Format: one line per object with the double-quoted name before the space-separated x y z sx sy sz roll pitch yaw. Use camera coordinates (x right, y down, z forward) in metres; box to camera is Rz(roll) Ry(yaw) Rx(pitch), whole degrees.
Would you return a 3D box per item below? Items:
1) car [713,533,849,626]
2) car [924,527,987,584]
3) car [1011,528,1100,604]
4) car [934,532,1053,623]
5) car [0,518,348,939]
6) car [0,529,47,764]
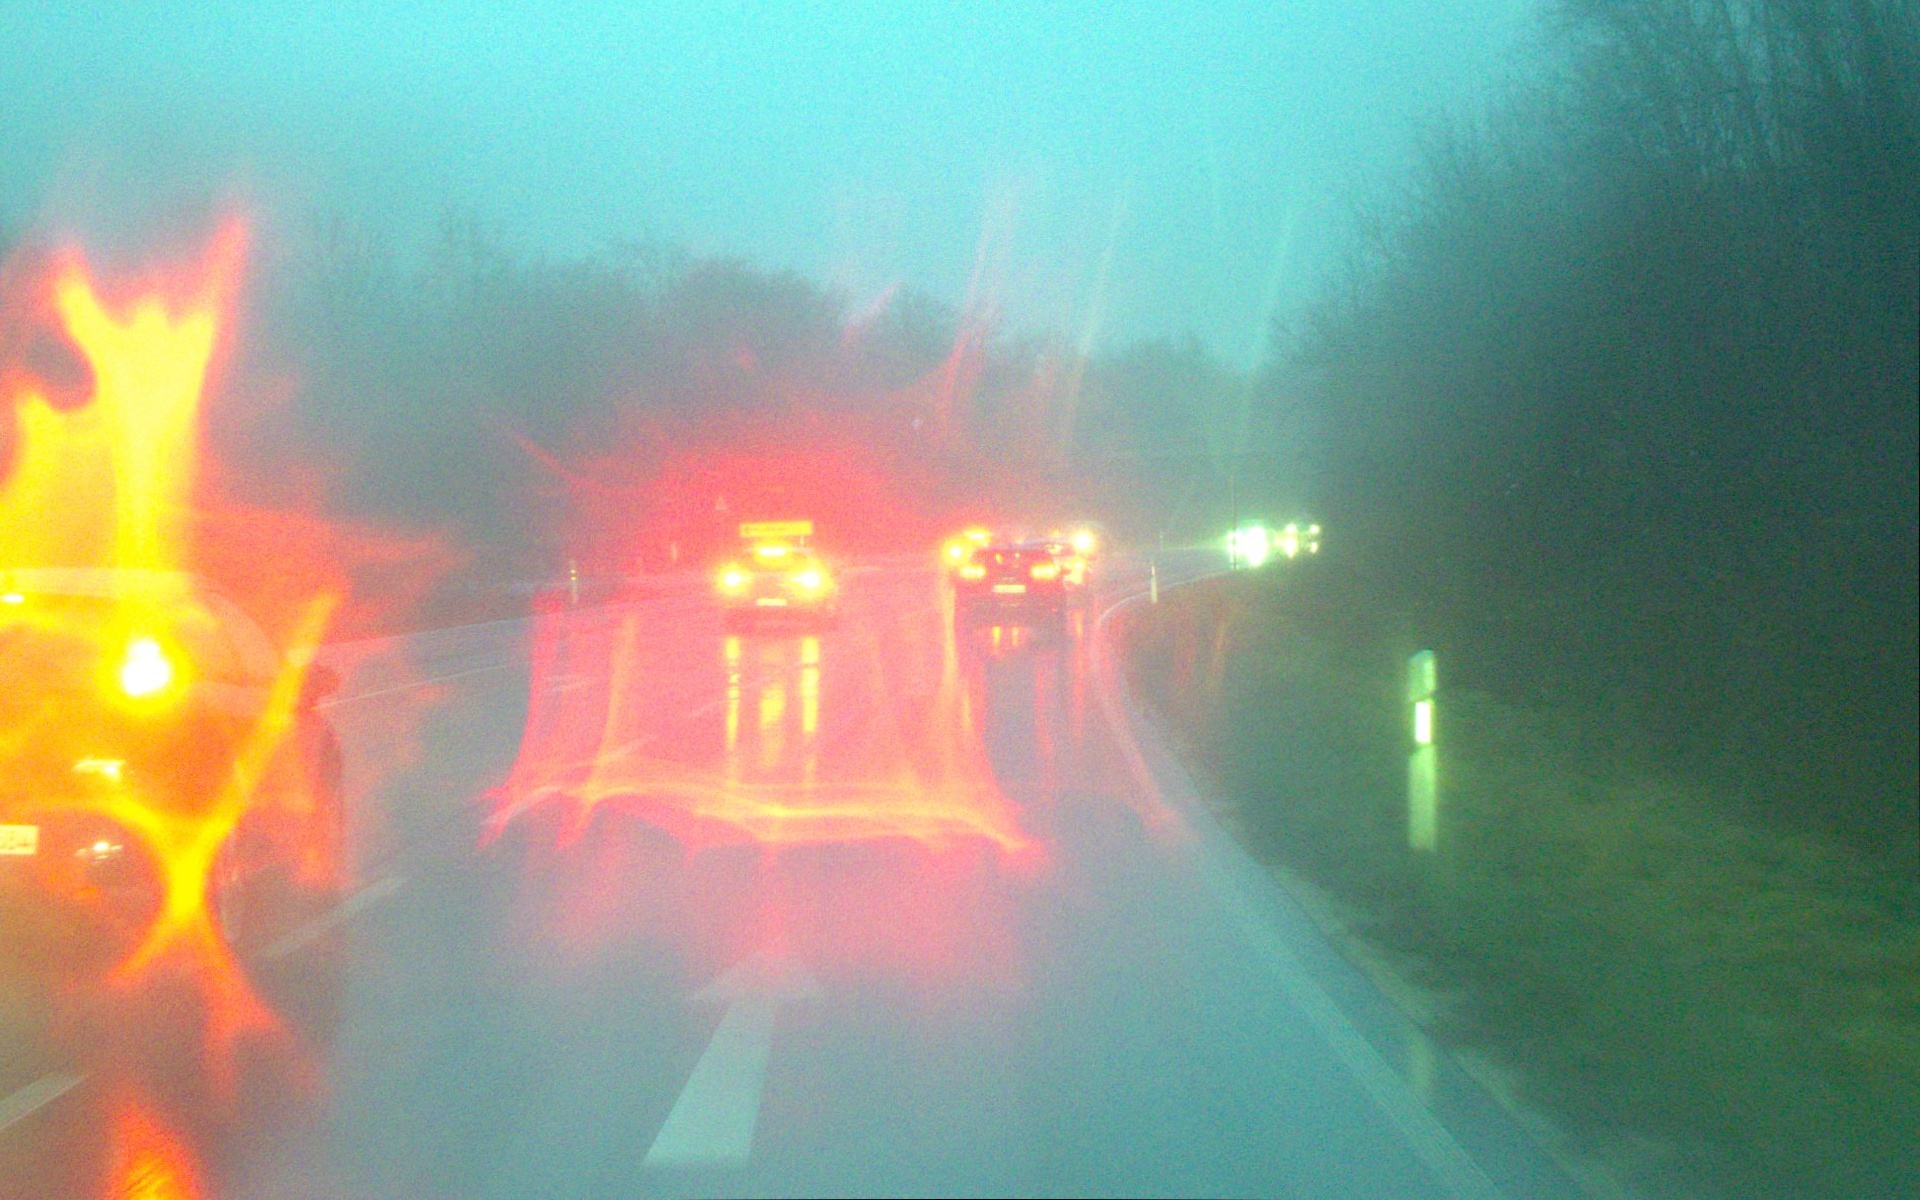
"car" -3.125 -0.392 60.810 2.005 1.550 4.517 1 1 2
"car" -0.118 -1.359 102.919 1.713 1.621 4.218 1 2 2
"car" 2.228 -0.800 79.183 1.679 1.669 4.097 0 2 7
"car" 0.577 -0.392 55.772 1.679 1.385 4.098 0 2 4
"car" -3.496 0.395 13.848 1.632 1.416 4.172 2 1 -5
"car" -7.661 0.324 23.006 1.993 1.643 4.723 1 1 -2
